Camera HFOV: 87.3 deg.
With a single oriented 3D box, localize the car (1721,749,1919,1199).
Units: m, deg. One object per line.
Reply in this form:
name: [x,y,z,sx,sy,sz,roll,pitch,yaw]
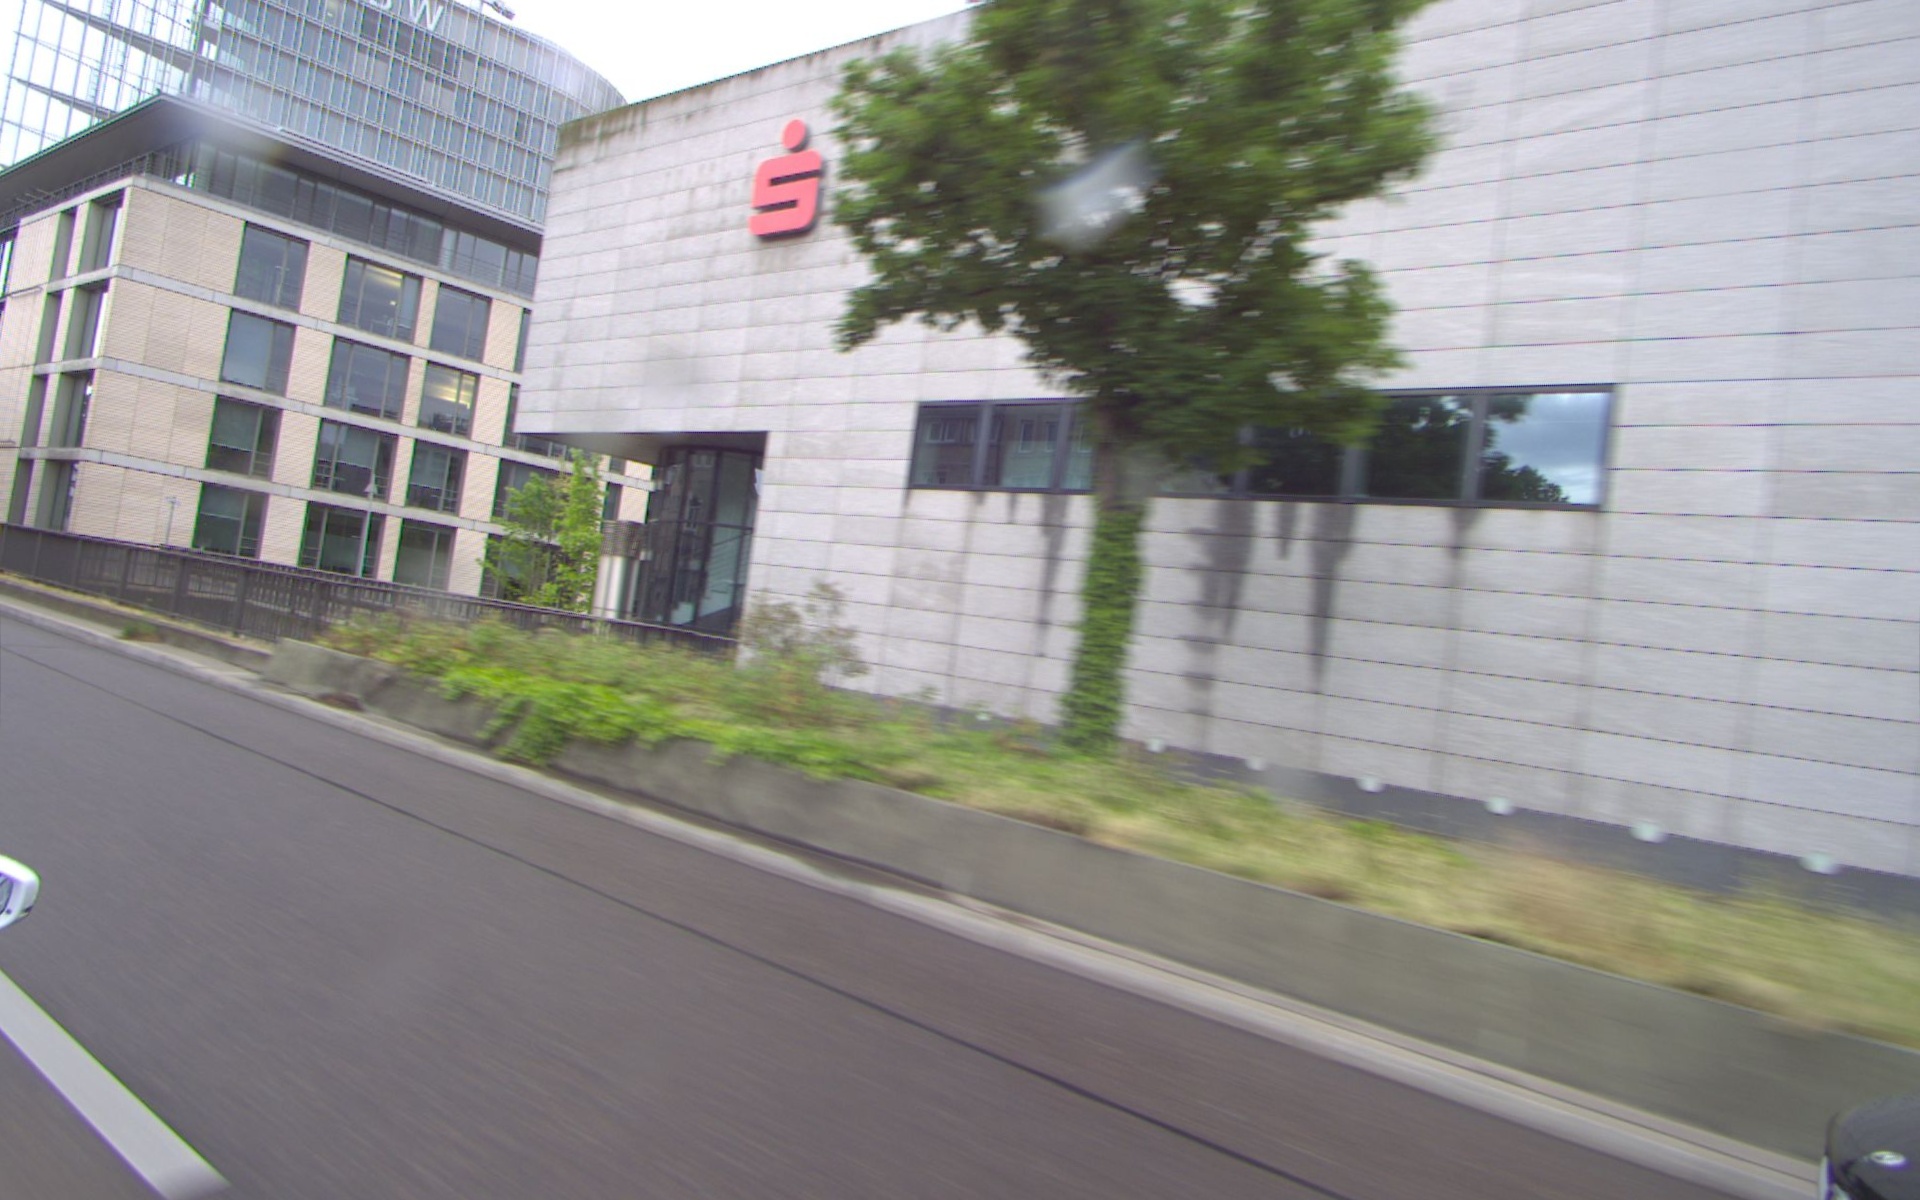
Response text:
car: [3.530,1.312,1.001,4.136,1.453,1.876,9,-1,33]
